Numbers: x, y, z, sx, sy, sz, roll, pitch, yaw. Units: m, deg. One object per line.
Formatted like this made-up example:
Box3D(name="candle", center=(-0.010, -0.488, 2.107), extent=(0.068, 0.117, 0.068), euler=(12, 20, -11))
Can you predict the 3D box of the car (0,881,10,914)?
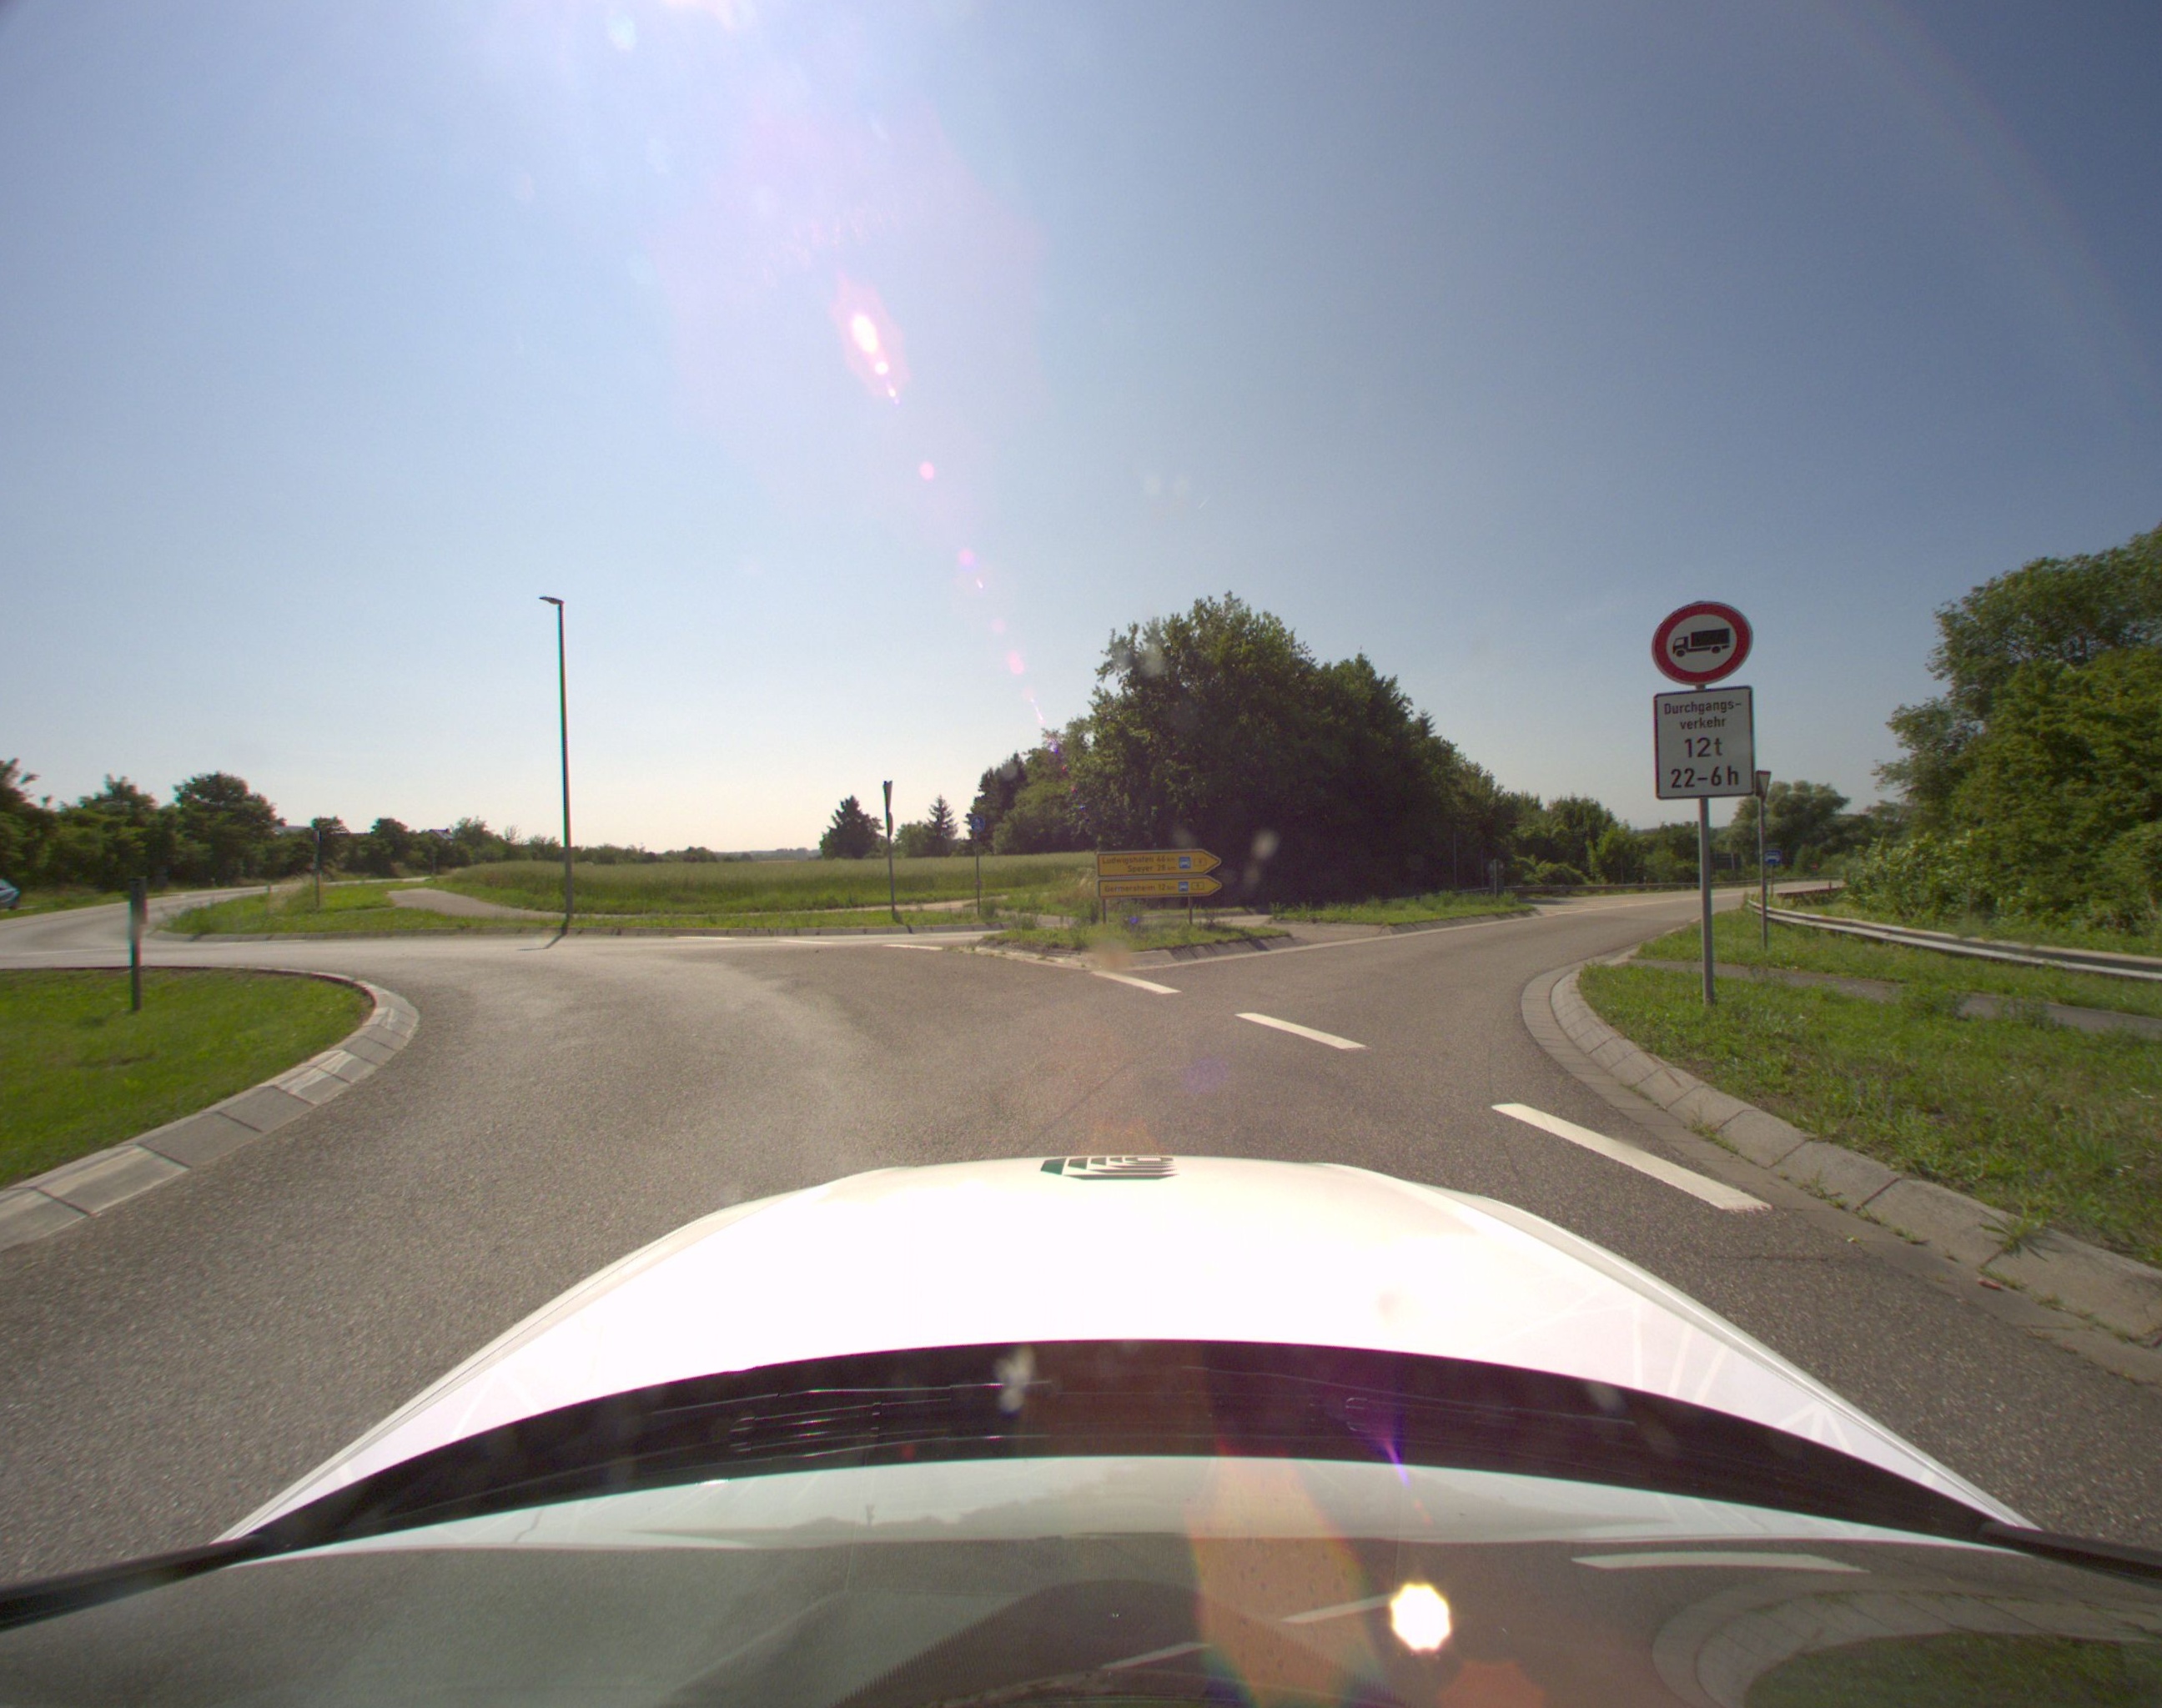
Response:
Box3D(name="car", center=(-52.016, 2.073, 38.052), extent=(1.658, 1.576, 3.952), euler=(0, -1, -42))
